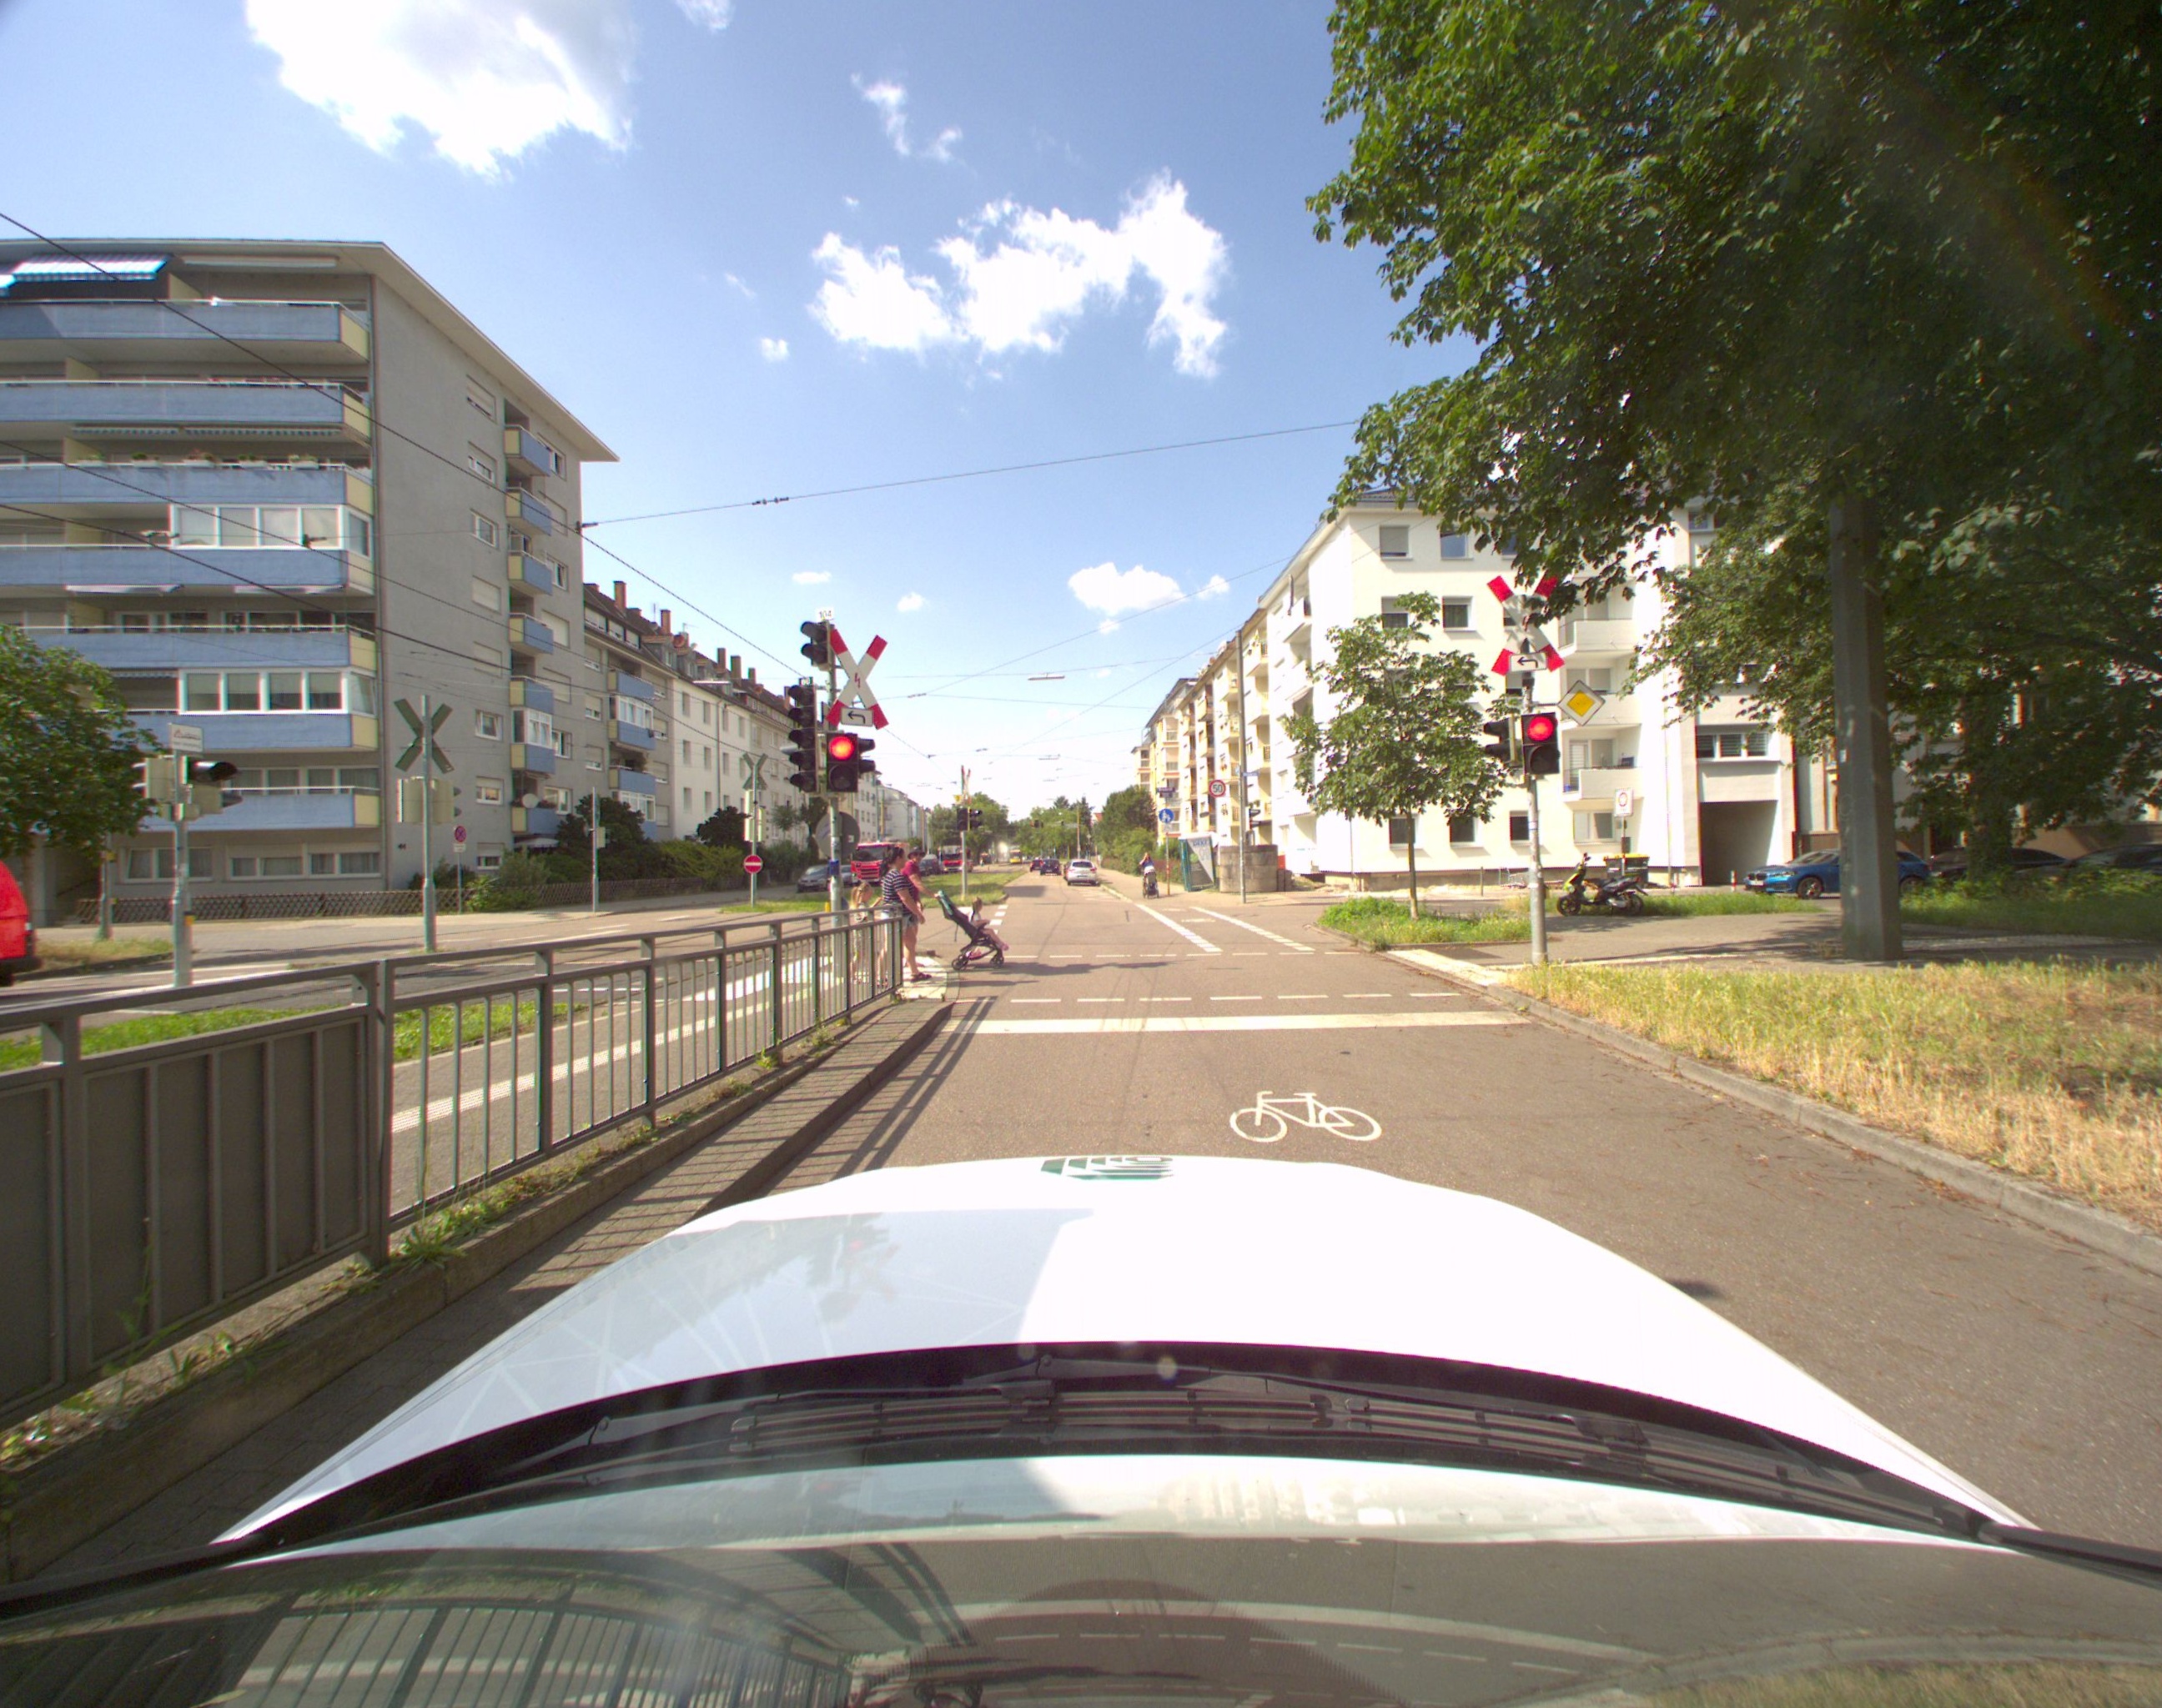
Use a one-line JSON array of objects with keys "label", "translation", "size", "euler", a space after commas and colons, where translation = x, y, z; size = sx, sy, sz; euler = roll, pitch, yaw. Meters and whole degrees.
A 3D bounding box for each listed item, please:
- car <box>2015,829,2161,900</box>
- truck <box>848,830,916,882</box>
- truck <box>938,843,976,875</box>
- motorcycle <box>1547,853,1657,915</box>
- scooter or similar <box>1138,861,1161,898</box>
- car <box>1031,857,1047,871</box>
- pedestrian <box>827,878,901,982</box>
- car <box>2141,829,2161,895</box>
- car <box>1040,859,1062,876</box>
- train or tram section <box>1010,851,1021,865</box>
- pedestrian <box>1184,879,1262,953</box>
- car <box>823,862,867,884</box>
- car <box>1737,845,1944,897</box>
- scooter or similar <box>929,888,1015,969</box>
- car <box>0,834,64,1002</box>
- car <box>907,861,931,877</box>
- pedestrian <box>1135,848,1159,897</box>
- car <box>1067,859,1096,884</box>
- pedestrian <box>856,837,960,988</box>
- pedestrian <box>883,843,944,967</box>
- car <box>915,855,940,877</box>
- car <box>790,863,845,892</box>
[{"label": "car", "translation": [23.222, 0.206, 17.507], "size": [1.733, 1.459, 4.001], "euler": [-2, 0, 1]}, {"label": "truck", "translation": [-13.166, 0.179, 54.635], "size": [2.588, 3.186, 8.379], "euler": [0, -1, 0]}, {"label": "truck", "translation": [-14.494, 0.614, 96.053], "size": [2.657, 3.471, 10.171], "euler": [0, -1, 2]}, {"label": "motorcycle", "translation": [11.039, 0.642, 17.334], "size": [0.574, 1.215, 1.829], "euler": [-6, 1, -30]}, {"label": "scooter or similar", "translation": [2.566, 0.943, 30.594], "size": [0.660, 1.303, 0.868], "euler": [-5, 0, -1]}, {"label": "car", "translation": [-4.779, 1.143, 93.518], "size": [1.739, 1.507, 3.997], "euler": [0, -1, -1]}, {"label": "pedestrian", "translation": [-2.663, 0.897, 9.971], "size": [0.641, 1.180, 0.790], "euler": [-1, -1, -32]}, {"label": "car", "translation": [26.028, 0.169, 17.462], "size": [1.794, 1.539, 4.013], "euler": [-2, 0, 11]}, {"label": "car", "translation": [-2.706, 1.182, 73.732], "size": [1.738, 1.507, 4.000], "euler": [0, -1, 1]}, {"label": "train or tram section", "translation": [-14.681, 0.899, 183.501], "size": [2.254, 3.069, 8.122], "euler": [-2, 0, -4]}, {"label": "pedestrian", "translation": [4.252, 1.818, 25.016], "size": [1.984, 2.014, 4.004], "euler": [0, -1, 4]}, {"label": "car", "translation": [-15.900, 1.281, 55.007], "size": [1.762, 1.442, 3.999], "euler": [0, -1, 0]}, {"label": "car", "translation": [21.702, 0.476, 23.424], "size": [4.146, 1.413, 1.783], "euler": [0, -1, 5]}, {"label": "scooter or similar", "translation": [-1.483, 1.008, 11.222], "size": [1.097, 1.056, 0.650], "euler": [0, -1, -2]}, {"label": "car", "translation": [-15.806, 0.929, 9.331], "size": [1.985, 2.275, 4.838], "euler": [-4, 0, 3]}, {"label": "car", "translation": [-17.048, 1.570, 85.795], "size": [1.905, 1.711, 3.996], "euler": [0, -1, -3]}, {"label": "pedestrian", "translation": [2.541, 0.708, 31.491], "size": [0.699, 1.789, 1.030], "euler": [-4, 0, 0]}, {"label": "car", "translation": [0.019, 1.022, 48.417], "size": [1.617, 1.465, 3.509], "euler": [0, -1, -1]}, {"label": "pedestrian", "translation": [-2.032, 0.649, 9.589], "size": [0.788, 1.667, 0.853], "euler": [-3, -1, 42]}, {"label": "pedestrian", "translation": [-2.295, 0.683, 11.223], "size": [0.704, 1.648, 0.636], "euler": [1, -1, -3]}, {"label": "car", "translation": [-17.294, 1.323, 92.077], "size": [1.963, 2.370, 5.197], "euler": [0, -1, -2]}, {"label": "car", "translation": [-15.778, 1.386, 48.985], "size": [1.987, 1.645, 3.999], "euler": [0, -1, 0]}]
